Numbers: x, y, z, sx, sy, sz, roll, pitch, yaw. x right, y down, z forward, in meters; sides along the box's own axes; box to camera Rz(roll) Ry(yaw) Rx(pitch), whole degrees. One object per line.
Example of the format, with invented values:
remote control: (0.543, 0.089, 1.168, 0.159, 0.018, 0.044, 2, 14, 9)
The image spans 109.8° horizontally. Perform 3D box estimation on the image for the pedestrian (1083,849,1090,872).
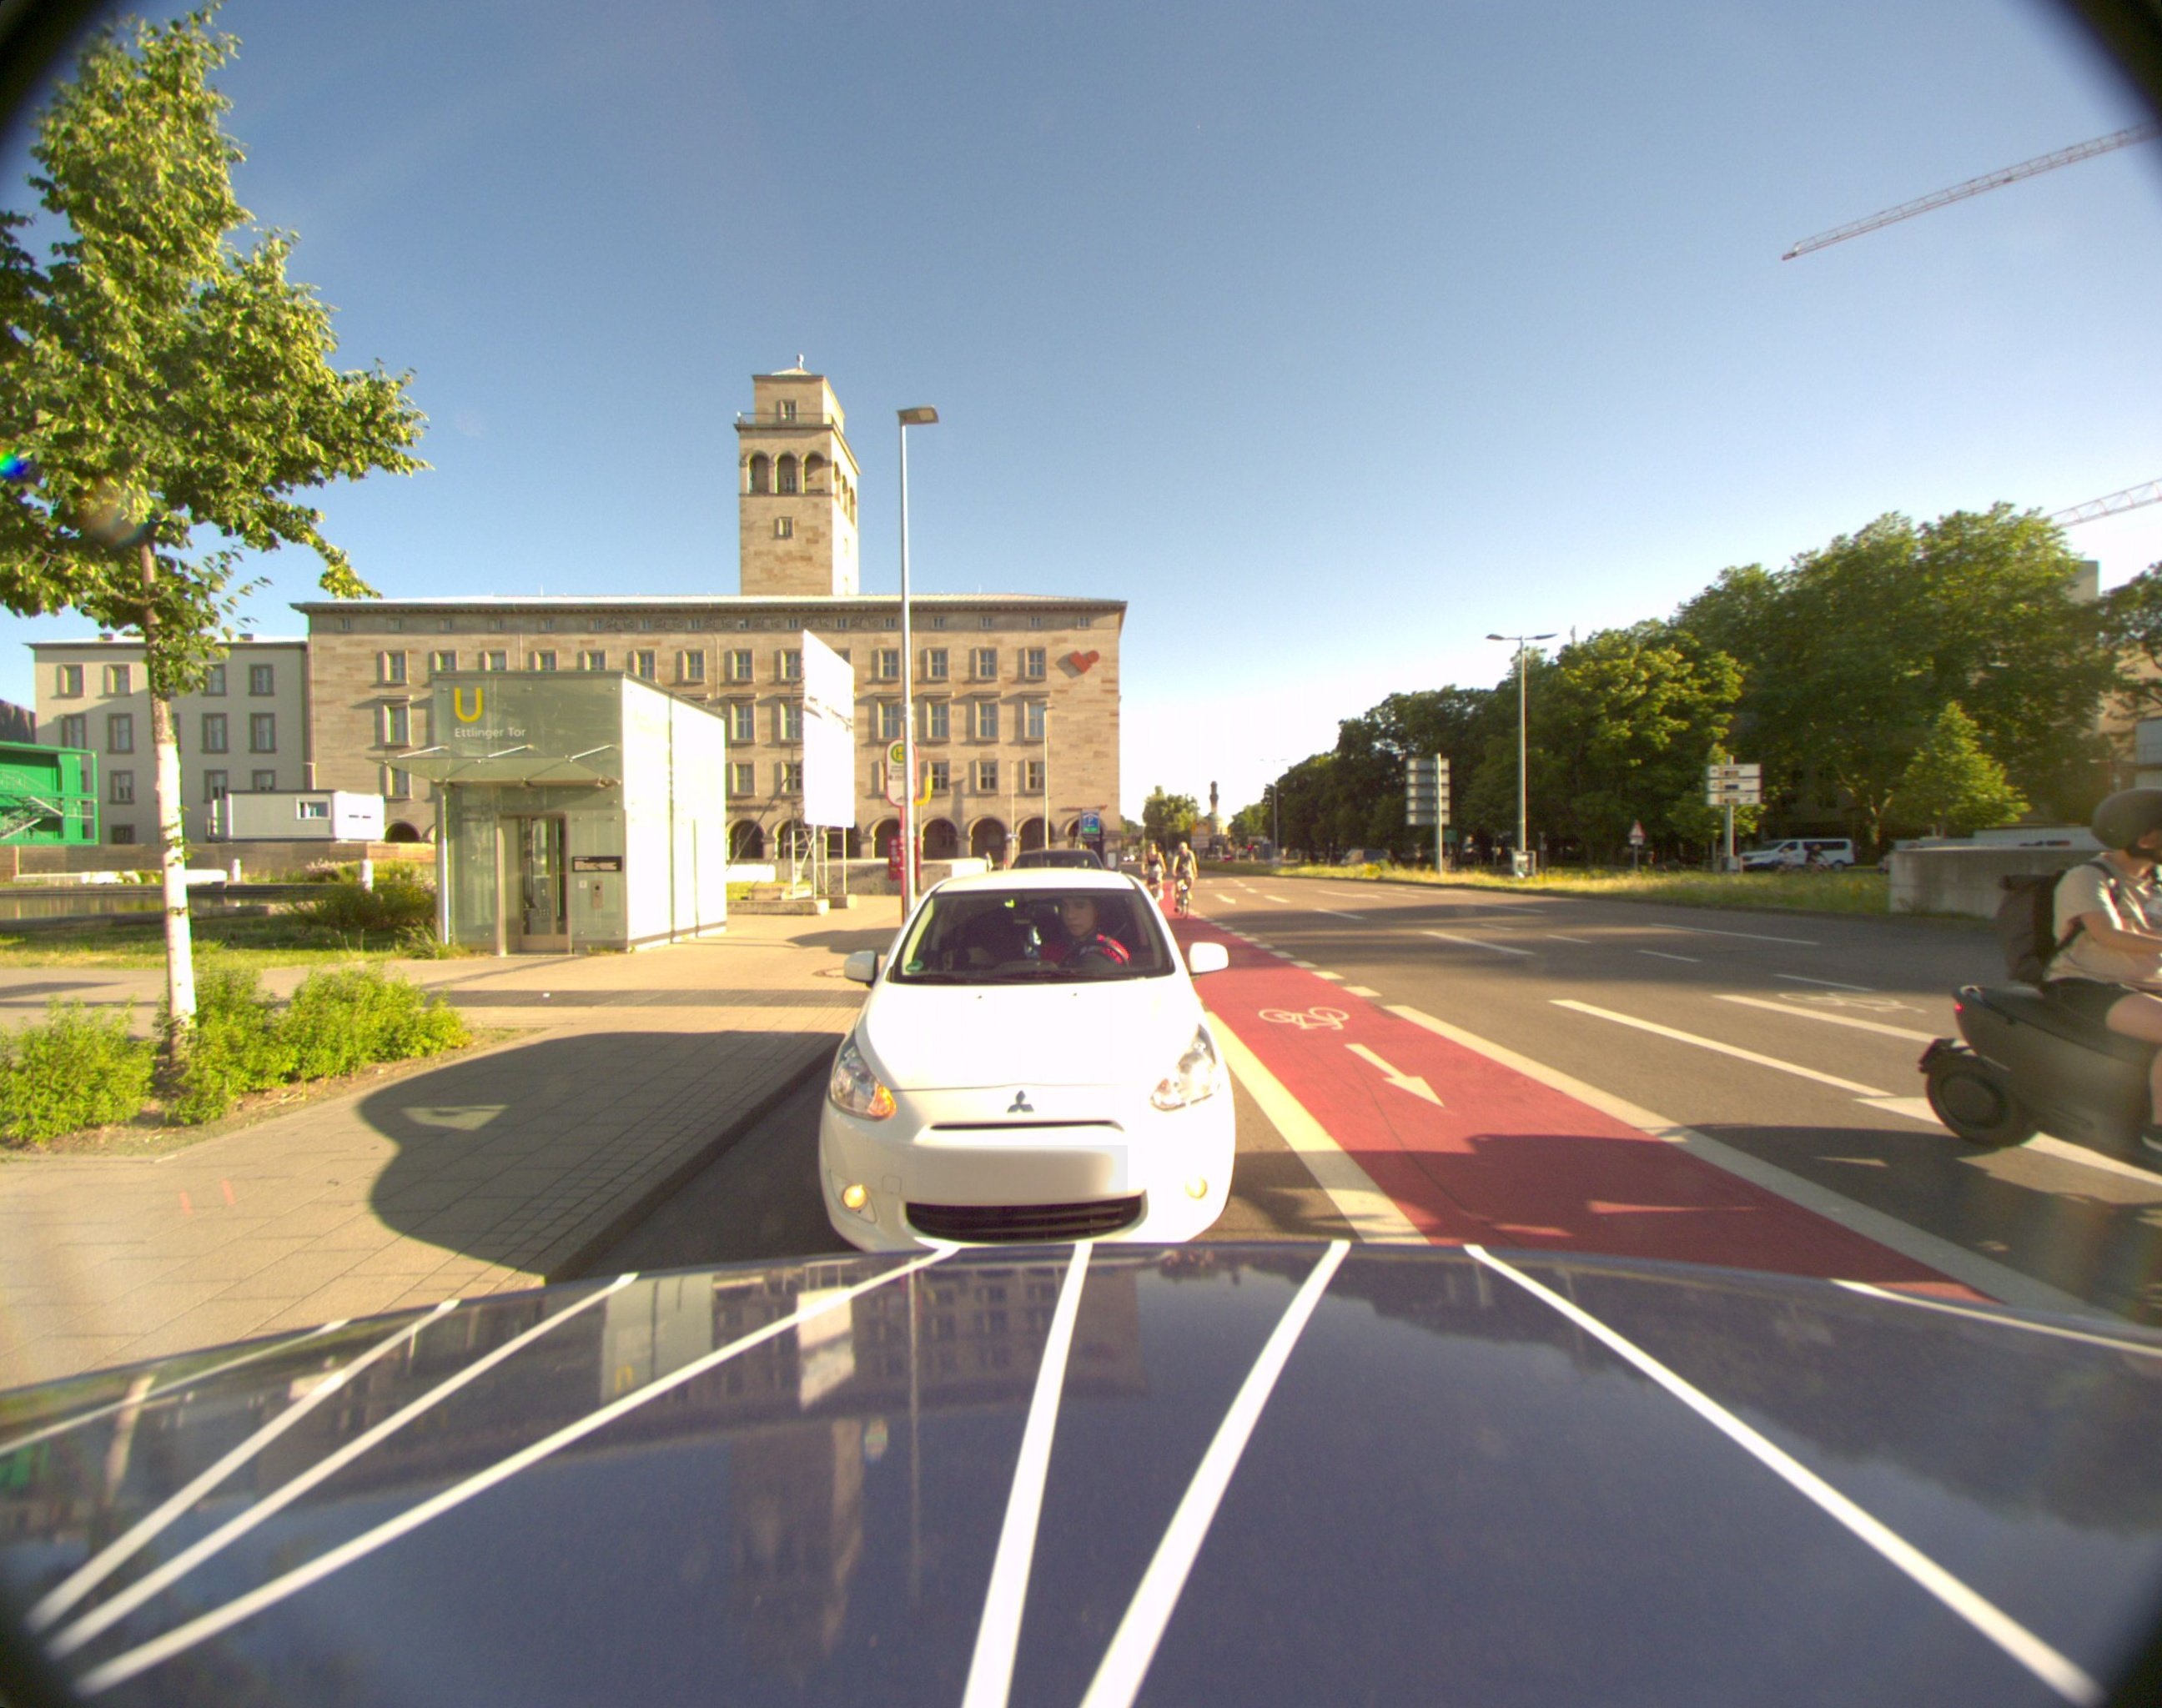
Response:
pedestrian: (0.420, 0.500, 58.044, 0.552, 1.692, 0.553, -1, 1, -1)

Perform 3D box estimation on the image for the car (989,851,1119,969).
car: (-0.356, 0.797, 12.835, 1.833, 1.660, 4.000, -1, 0, 1)

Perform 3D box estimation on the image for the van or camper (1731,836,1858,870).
van or camper: (42.238, -0.047, 45.065, 5.499, 1.934, 1.951, -1, 0, 4)

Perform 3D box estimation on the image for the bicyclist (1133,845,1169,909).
bicyclist: (1.739, 0.556, 19.024, 0.823, 1.568, 0.877, -1, 1, 1)

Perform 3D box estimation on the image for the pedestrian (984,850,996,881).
pedestrian: (-5.022, 0.652, 41.963, 0.595, 1.700, 0.583, -1, 1, 1)

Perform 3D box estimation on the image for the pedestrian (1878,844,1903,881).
pedestrian: (32.583, 0.338, 30.579, 0.499, 1.502, 0.494, -1, 1, 1)

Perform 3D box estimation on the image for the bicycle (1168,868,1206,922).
bicycle: (2.498, 0.955, 18.033, 0.689, 1.185, 1.506, -1, 1, 1)

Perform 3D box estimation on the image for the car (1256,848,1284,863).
car: (18.206, 0.166, 73.288, 1.728, 1.369, 3.943, -1, 0, 1)

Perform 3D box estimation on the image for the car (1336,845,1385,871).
car: (21.567, 0.308, 58.808, 1.887, 1.911, 4.930, -1, 0, -2)

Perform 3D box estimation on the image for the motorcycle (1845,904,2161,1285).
motorcycle: (4.272, 0.899, 2.871, 0.828, 1.273, 1.944, -1, 0, 1)

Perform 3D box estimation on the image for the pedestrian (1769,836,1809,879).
pedestrian: (33.393, 0.147, 35.846, 1.126, 1.952, 0.815, -2, 1, 1)

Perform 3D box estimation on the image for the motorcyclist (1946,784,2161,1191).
motorcyclist: (4.273, 0.473, 2.950, 0.823, 1.455, 0.877, -1, 1, 1)

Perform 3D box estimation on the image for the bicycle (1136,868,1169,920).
bicycle: (1.772, 0.974, 18.969, 0.689, 1.185, 1.506, -1, 1, 1)

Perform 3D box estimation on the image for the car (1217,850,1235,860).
car: (20.783, 0.128, 109.138, 1.881, 1.472, 3.980, -1, 0, 1)

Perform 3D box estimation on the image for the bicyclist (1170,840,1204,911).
bicyclist: (2.515, 0.500, 18.083, 0.674, 1.649, 0.877, -1, 1, 1)

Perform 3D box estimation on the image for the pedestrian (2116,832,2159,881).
pedestrian: (35.176, 0.094, 25.309, 0.588, 1.593, 0.598, -2, 1, -2)

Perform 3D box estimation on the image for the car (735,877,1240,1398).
car: (-0.256, 0.927, 4.311, 1.519, 1.447, 4.000, -1, 0, 1)

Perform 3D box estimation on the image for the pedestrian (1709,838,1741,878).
pedestrian: (32.680, 0.185, 38.572, 0.955, 2.002, 0.841, -2, 1, 15)
